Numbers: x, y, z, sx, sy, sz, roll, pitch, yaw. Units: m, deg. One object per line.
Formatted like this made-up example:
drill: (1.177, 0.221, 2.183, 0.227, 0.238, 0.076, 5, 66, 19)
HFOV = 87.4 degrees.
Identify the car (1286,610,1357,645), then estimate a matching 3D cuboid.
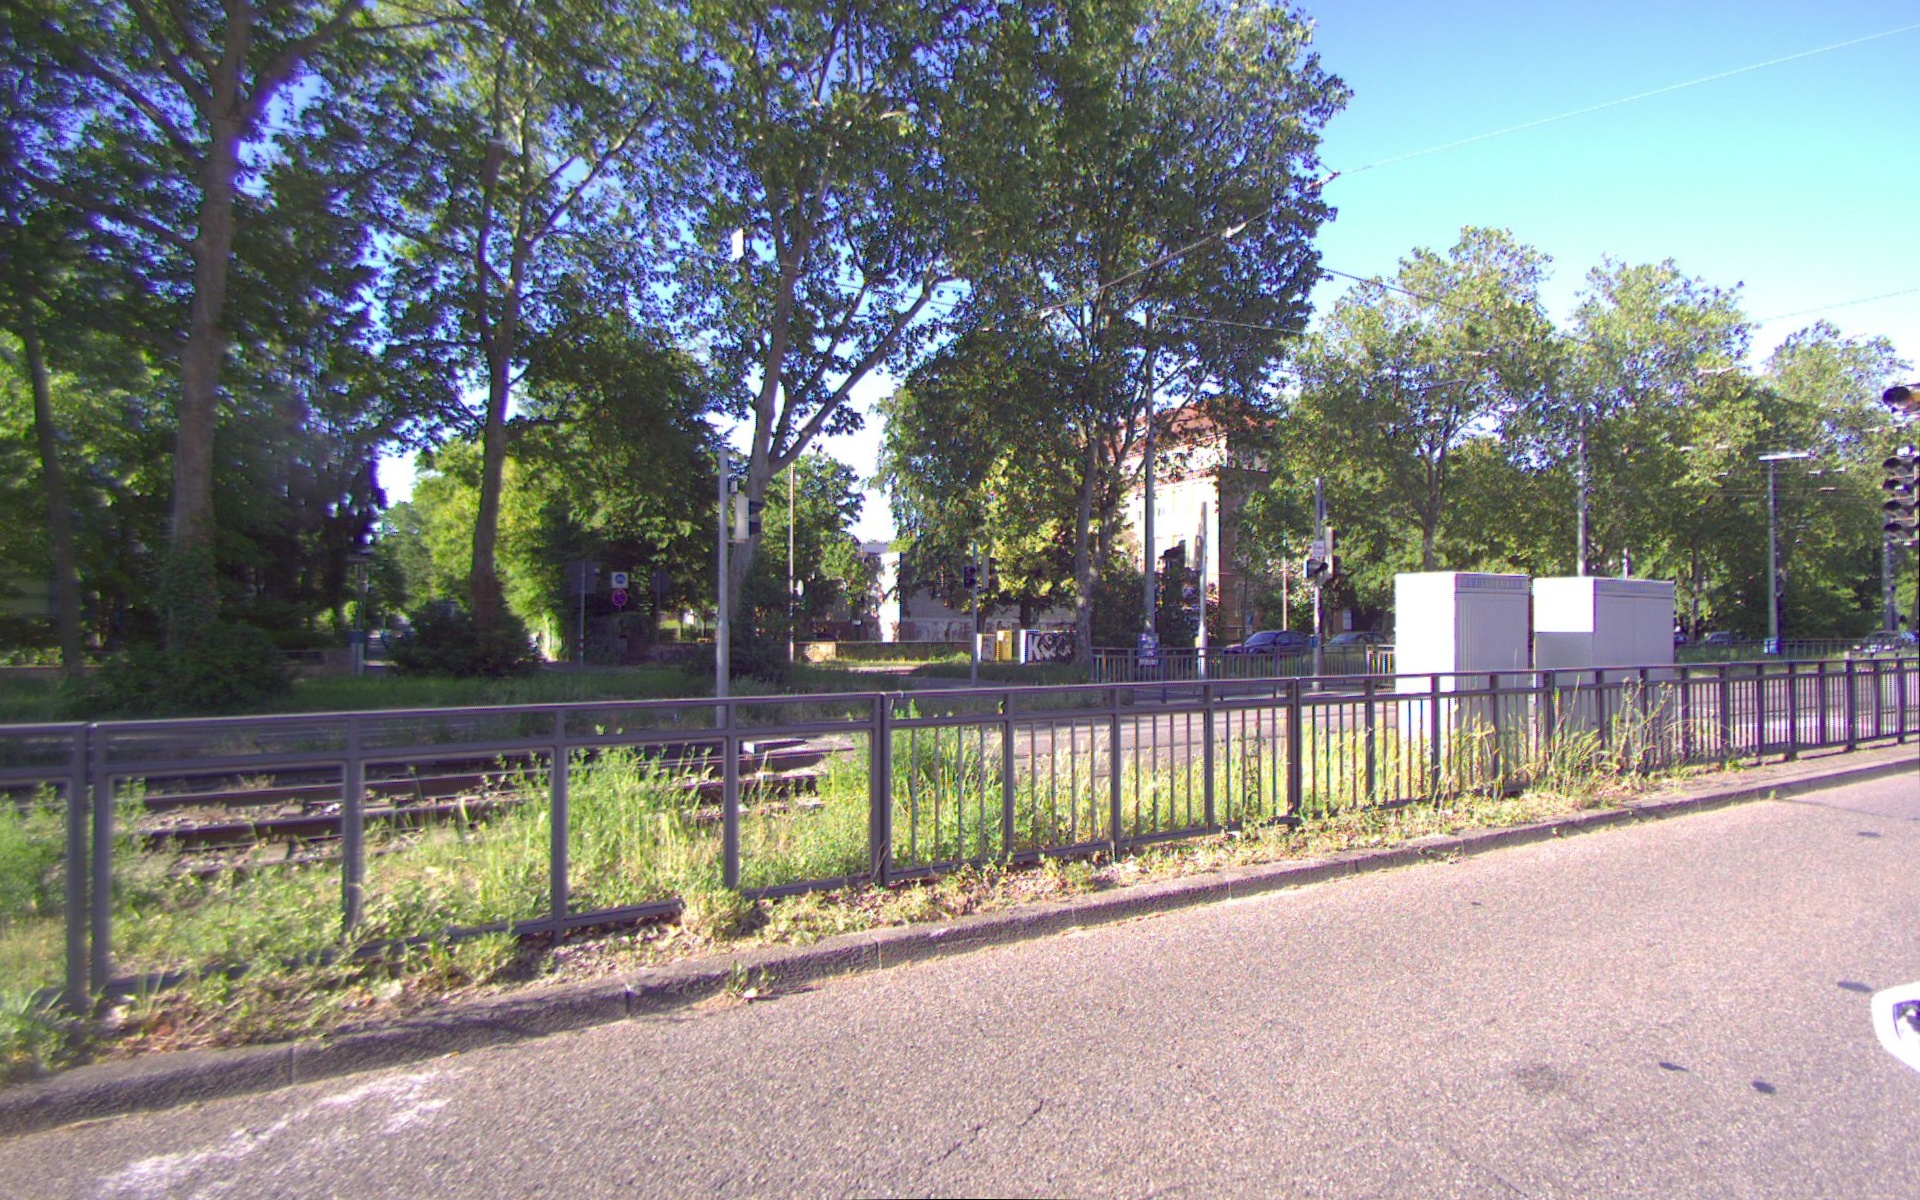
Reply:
car: (21.885, 1.658, 60.757, 3.953, 2.040, 1.984, 1, -1, -30)

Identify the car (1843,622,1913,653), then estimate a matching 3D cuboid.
car: (47.292, 1.893, 51.723, 4.297, 1.518, 1.674, 1, -1, -33)

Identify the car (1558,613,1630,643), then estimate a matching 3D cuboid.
car: (33.746, 1.470, 53.435, 4.098, 1.529, 1.660, 1, -1, -32)

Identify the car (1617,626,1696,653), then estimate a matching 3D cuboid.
car: (39.217, 2.233, 56.536, 4.795, 1.367, 1.926, 2, -1, -32)

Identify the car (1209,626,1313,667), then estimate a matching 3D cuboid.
car: (11.959, 1.793, 39.829, 4.098, 1.529, 1.660, 1, -1, -32)
